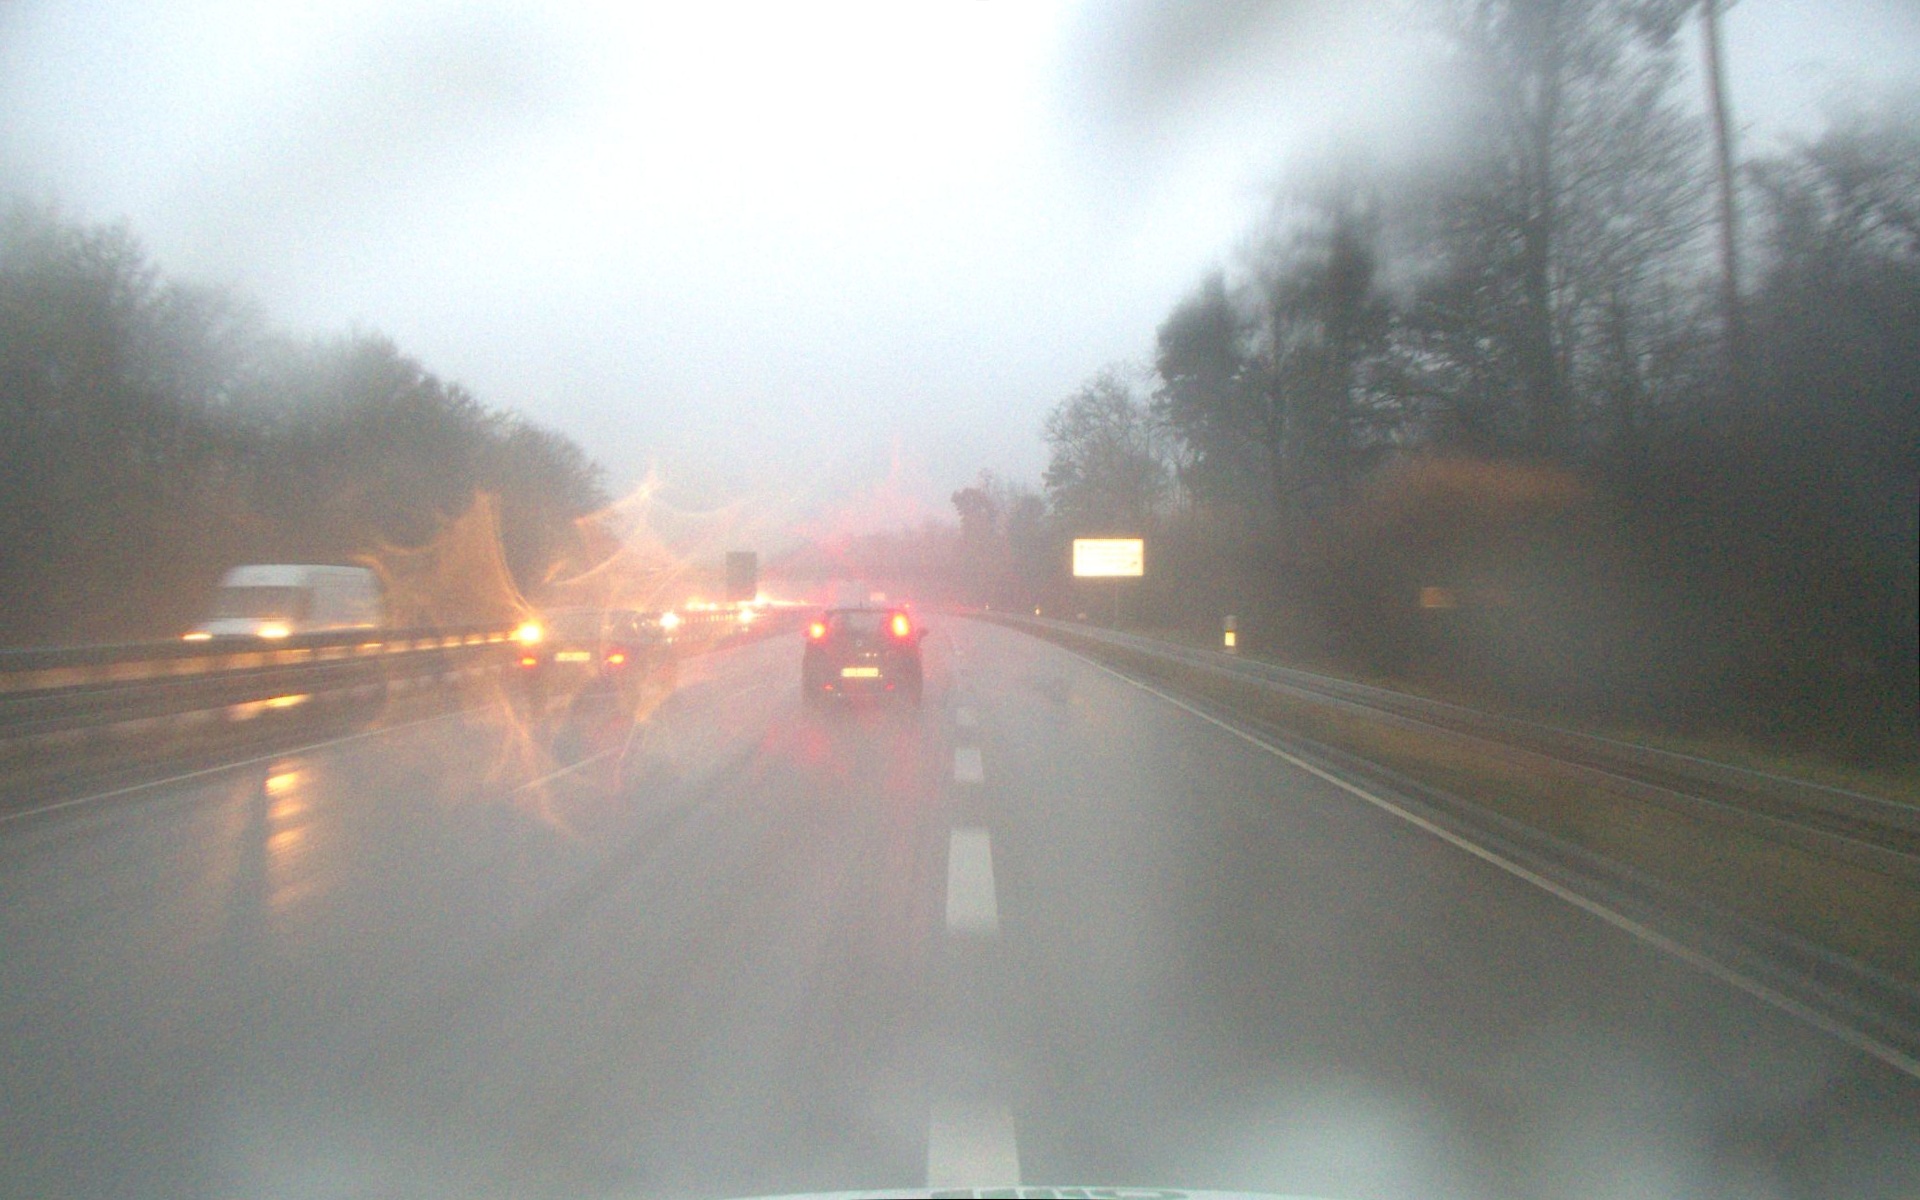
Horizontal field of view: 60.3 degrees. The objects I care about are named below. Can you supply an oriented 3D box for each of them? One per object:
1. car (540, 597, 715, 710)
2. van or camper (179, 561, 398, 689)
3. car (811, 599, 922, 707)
[{"bbox_3d":[-5.122,0.765,26.128,1.739,1.561,4.703,-2,0,0],"label":"car"},{"bbox_3d":[-15.330,0.523,38.373,2.034,2.616,7.402,2,0,-1],"label":"van or camper"},{"bbox_3d":[-1.346,0.741,24.688,1.496,1.440,3.478,2,0,-2],"label":"car"}]
